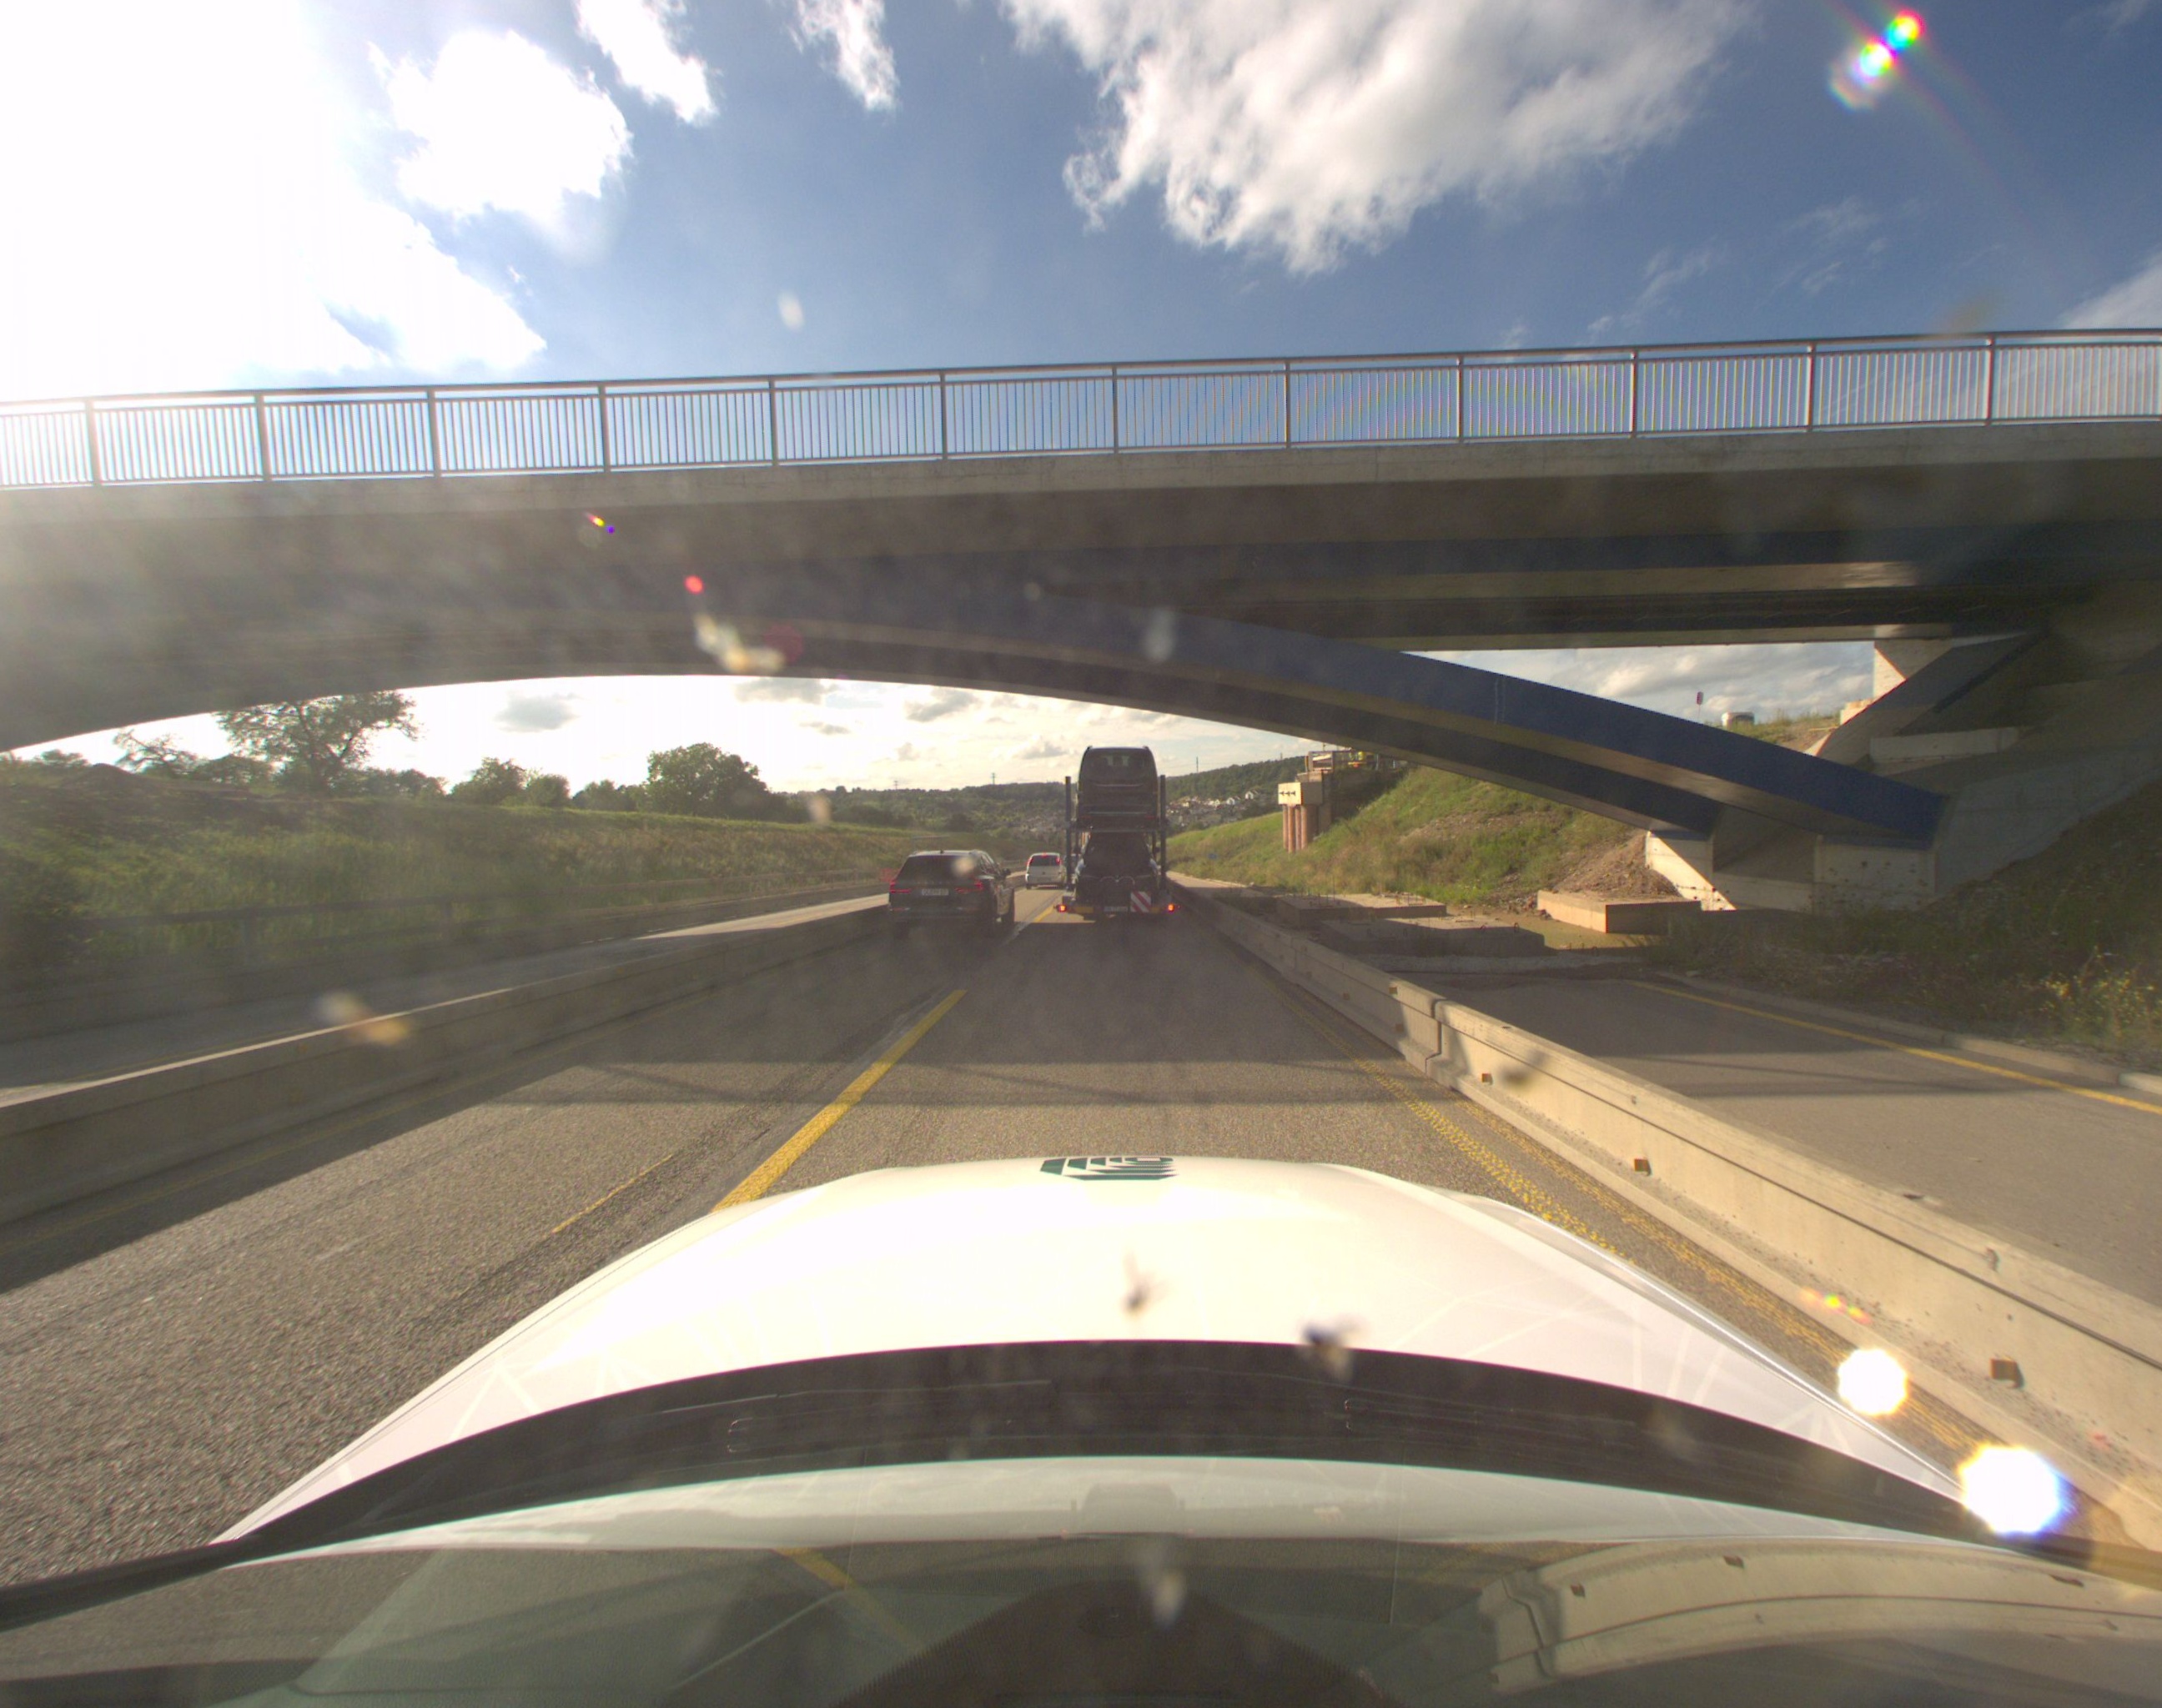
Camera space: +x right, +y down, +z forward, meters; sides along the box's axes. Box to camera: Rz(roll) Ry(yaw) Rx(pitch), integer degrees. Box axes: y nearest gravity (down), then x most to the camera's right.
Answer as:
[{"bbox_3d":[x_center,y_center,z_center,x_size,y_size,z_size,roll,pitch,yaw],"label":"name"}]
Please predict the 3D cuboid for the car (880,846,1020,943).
[{"bbox_3d":[-2.447,0.694,16.475,1.987,1.625,4.750,-1,0,0],"label":"car"}]

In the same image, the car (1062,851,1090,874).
[{"bbox_3d":[-0.319,0.551,57.819,1.790,1.530,4.296,-1,0,1],"label":"car"}]

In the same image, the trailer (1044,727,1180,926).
[{"bbox_3d":[0.916,-0.568,22.436,2.697,4.029,11.427,-1,0,3],"label":"trailer"}]

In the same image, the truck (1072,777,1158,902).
[{"bbox_3d":[1.260,-0.468,28.908,2.666,3.922,6.033,-1,0,3],"label":"truck"}]

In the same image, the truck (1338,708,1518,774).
[{"bbox_3d":[20.165,-6.557,47.684,9.229,3.228,2.961,-1,0,1],"label":"truck"}]

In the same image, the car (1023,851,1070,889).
[{"bbox_3d":[-1.526,0.697,37.738,1.790,1.596,4.744,-2,0,1],"label":"car"}]
